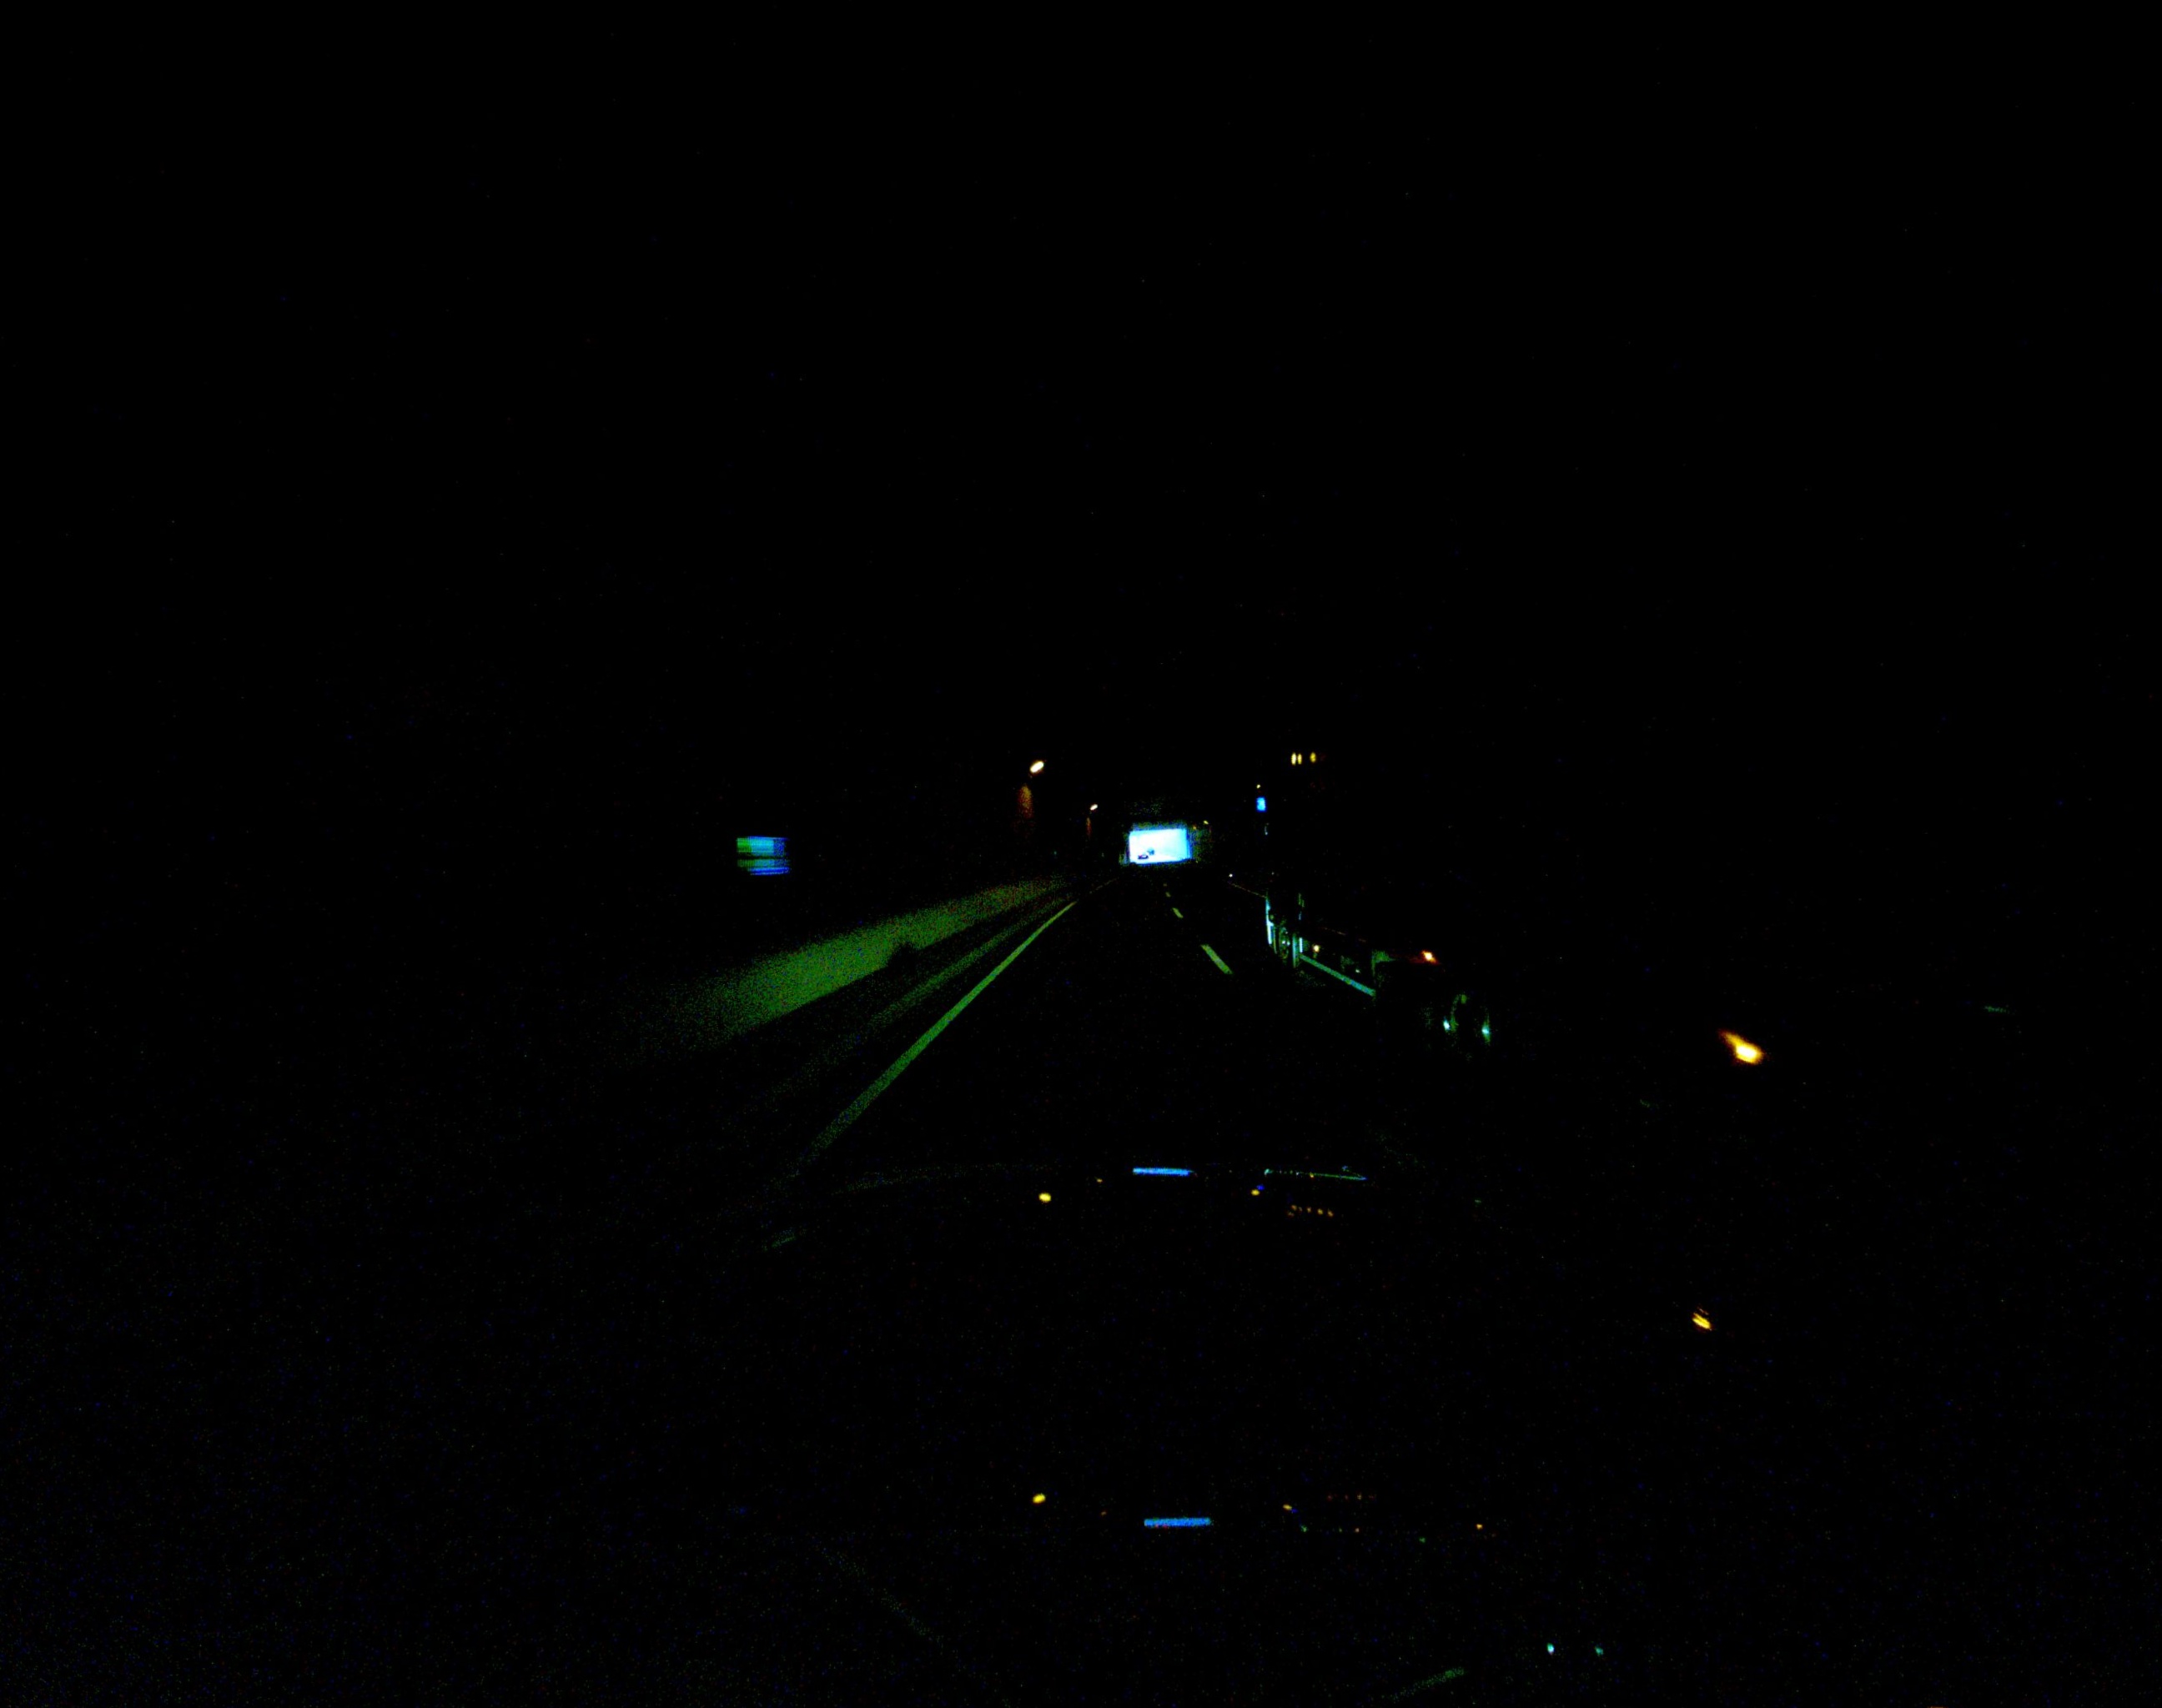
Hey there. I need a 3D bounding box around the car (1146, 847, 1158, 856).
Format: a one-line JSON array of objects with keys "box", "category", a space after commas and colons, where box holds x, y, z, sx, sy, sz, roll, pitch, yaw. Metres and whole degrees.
[{"box": [13.426, -0.462, 154.395, 1.862, 1.732, 4.002, -3, -1, 2], "category": "car"}]

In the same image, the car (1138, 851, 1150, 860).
[{"box": [10.674, 0.190, 137.420, 1.831, 1.388, 4.007, -3, -1, 7], "category": "car"}]

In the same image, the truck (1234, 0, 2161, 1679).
[{"box": [3.427, -0.559, 6.024, 2.878, 3.913, 9.913, -3, 0, 2], "category": "truck"}]
